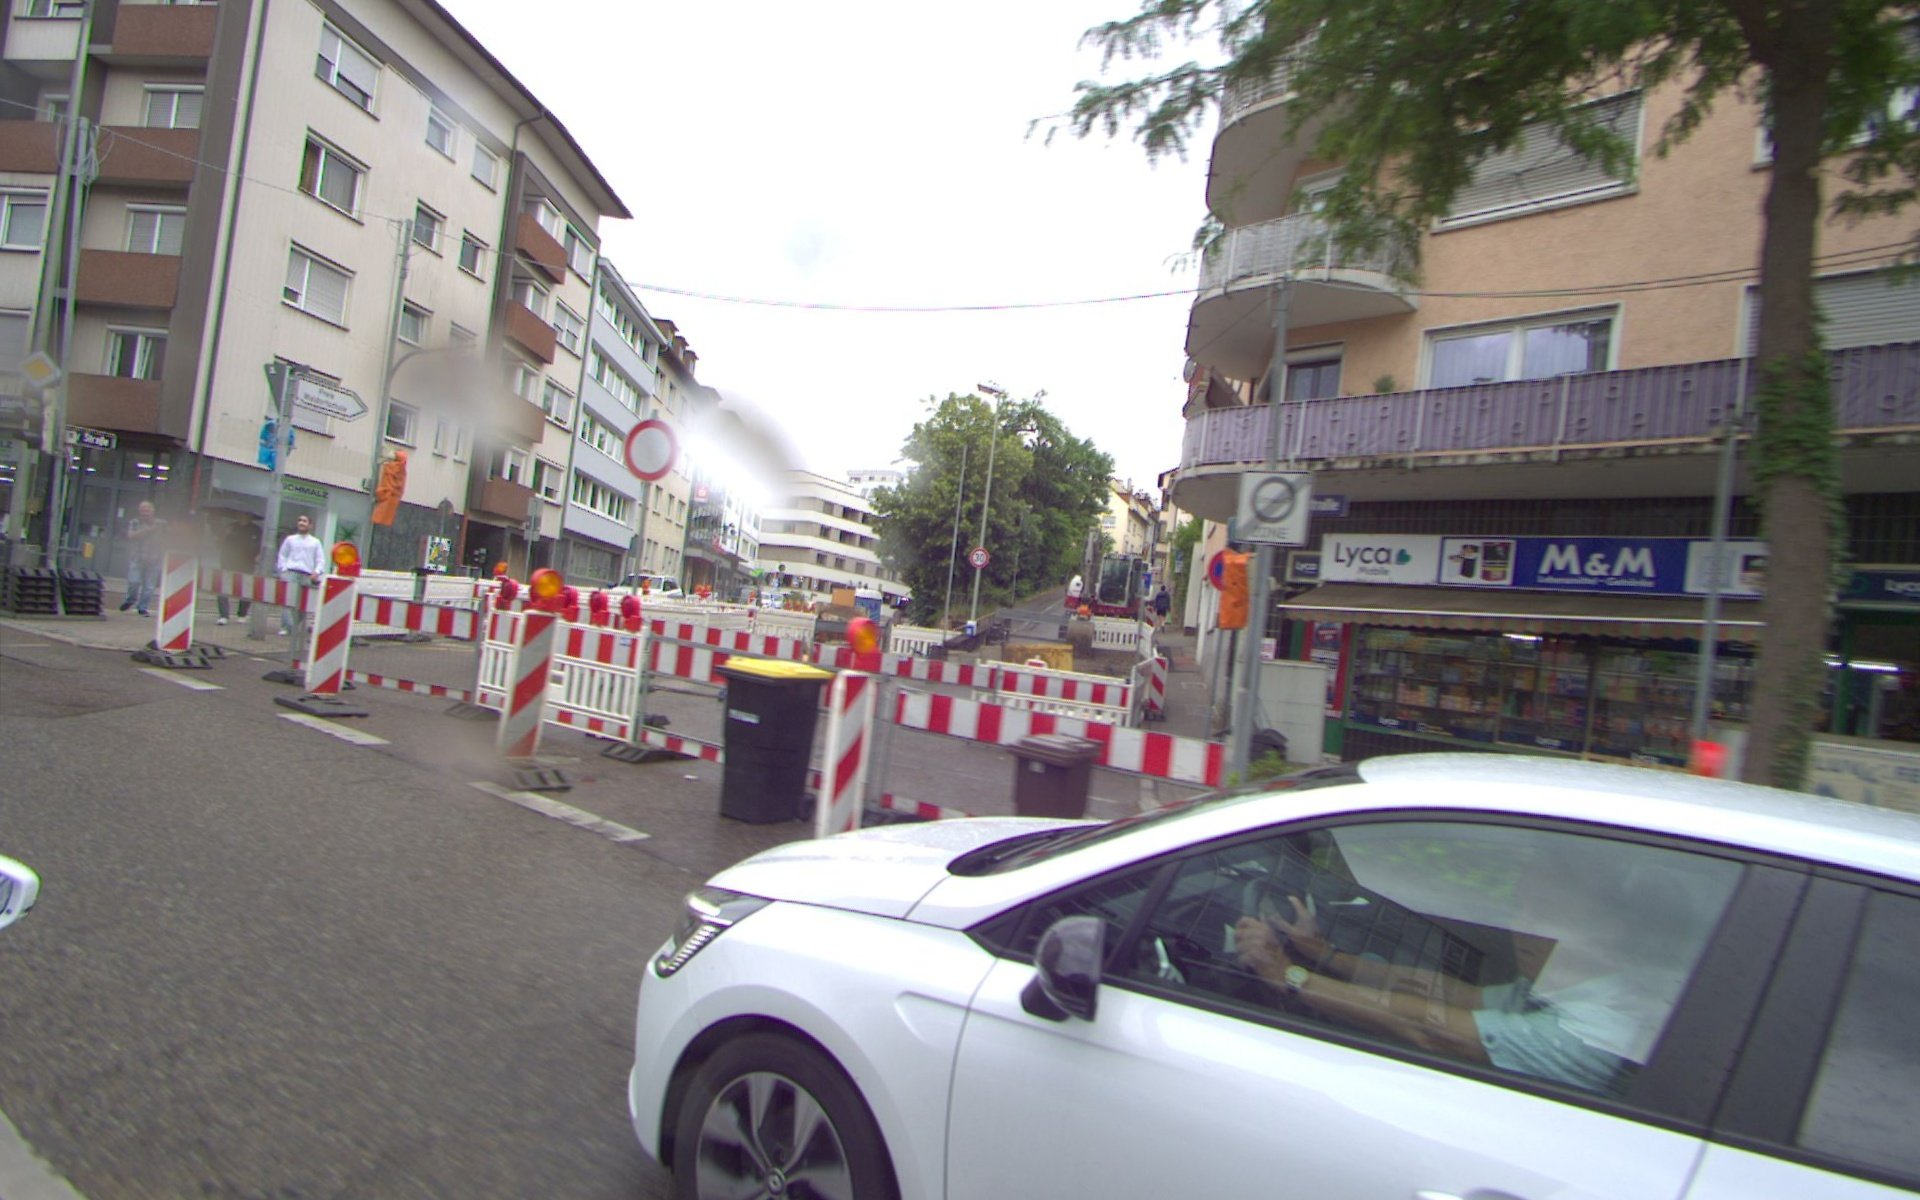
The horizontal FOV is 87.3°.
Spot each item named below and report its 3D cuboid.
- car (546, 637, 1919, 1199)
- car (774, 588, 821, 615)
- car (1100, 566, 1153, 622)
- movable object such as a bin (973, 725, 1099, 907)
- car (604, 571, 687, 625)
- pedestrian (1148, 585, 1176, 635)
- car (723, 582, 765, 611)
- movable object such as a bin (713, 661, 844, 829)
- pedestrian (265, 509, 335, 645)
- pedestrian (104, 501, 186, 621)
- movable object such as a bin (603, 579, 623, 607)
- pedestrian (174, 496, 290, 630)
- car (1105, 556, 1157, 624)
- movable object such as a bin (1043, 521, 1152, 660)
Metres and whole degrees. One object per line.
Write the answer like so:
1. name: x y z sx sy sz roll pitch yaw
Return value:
1. car: 1.082 1.016 2.141 3.937 1.421 1.677 6 0 35
2. car: -16.089 0.160 99.950 4.018 2.035 2.004 7 -4 6
3. car: 6.478 -0.282 38.829 1.730 1.750 3.712 7 5 11
4. movable object such as a bin: 0.457 1.270 6.038 0.522 0.941 0.420 8 1 29
5. car: -11.854 -0.084 38.280 1.964 1.742 4.793 5 0 -6
6. pedestrian: 7.892 0.383 39.291 0.754 1.837 0.810 7 4 2
7. car: -14.097 -0.227 65.863 1.893 1.622 3.998 7 -1 -3
8. movable object such as a bin: -1.260 0.986 7.031 0.522 1.044 0.621 8 1 29
9. pedestrian: -9.779 -0.328 14.939 0.650 1.902 0.987 5 -1 -28
10. pedestrian: -12.377 -0.586 15.280 0.811 1.708 0.789 4 -1 45
11. movable object such as a bin: -14.555 -0.285 42.231 0.521 1.059 0.540 7 -3 -1
12. pedestrian: -11.058 -0.535 15.327 1.014 1.883 0.918 5 -1 -11
13. car: 7.871 -0.547 46.695 1.854 2.654 5.087 7 5 6
14. movable object such as a bin: 4.433 -0.406 32.048 2.690 3.688 6.529 7 3 9
